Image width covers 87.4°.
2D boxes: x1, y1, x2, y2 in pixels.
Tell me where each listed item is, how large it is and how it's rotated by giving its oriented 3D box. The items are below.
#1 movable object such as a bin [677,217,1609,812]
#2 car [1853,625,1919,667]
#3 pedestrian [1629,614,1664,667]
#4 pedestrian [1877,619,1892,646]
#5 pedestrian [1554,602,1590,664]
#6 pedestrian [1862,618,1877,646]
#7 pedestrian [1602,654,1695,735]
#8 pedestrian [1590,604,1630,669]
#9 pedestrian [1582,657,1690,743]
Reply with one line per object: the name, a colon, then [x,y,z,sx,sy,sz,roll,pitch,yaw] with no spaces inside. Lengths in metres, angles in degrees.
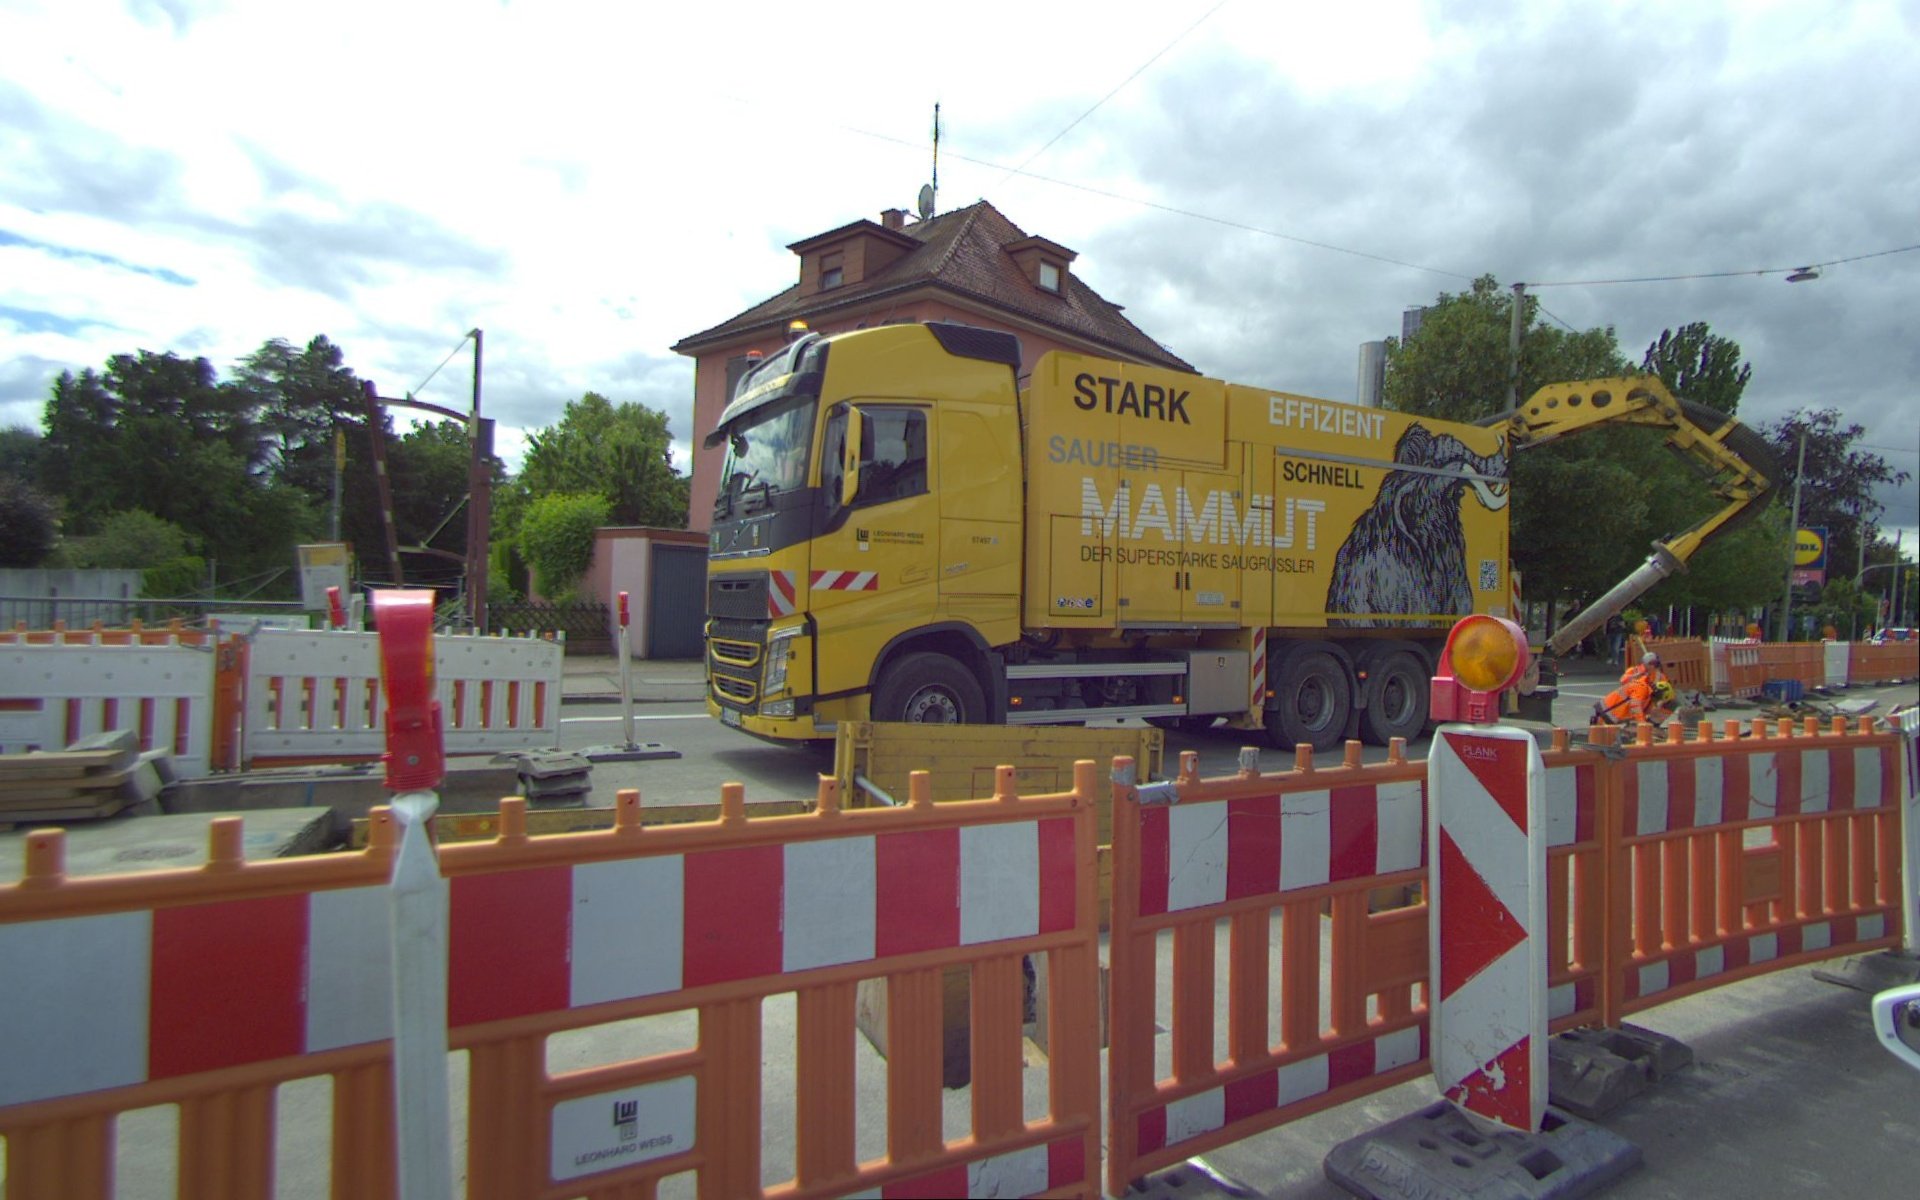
movable object such as a bin: [2.760,-0.492,11.099,10.988,4.277,2.579,2,0,-30]
car: [37.058,1.797,39.936,3.970,1.472,1.837,2,2,-42]
pedestrian: [21.609,1.263,31.607,0.744,1.624,0.825,3,1,44]
pedestrian: [64.124,2.258,69.675,0.886,1.879,0.675,2,1,-44]
pedestrian: [18.808,1.004,30.883,0.612,1.872,0.625,2,1,-15]
pedestrian: [63.578,2.236,70.188,0.702,1.879,0.675,2,1,-43]
pedestrian: [9.199,1.249,13.444,0.778,1.004,0.642,2,0,-5]
pedestrian: [19.240,1.070,29.744,0.612,1.872,0.695,2,1,-15]
pedestrian: [8.505,1.245,12.660,0.798,1.004,0.791,1,0,-15]
